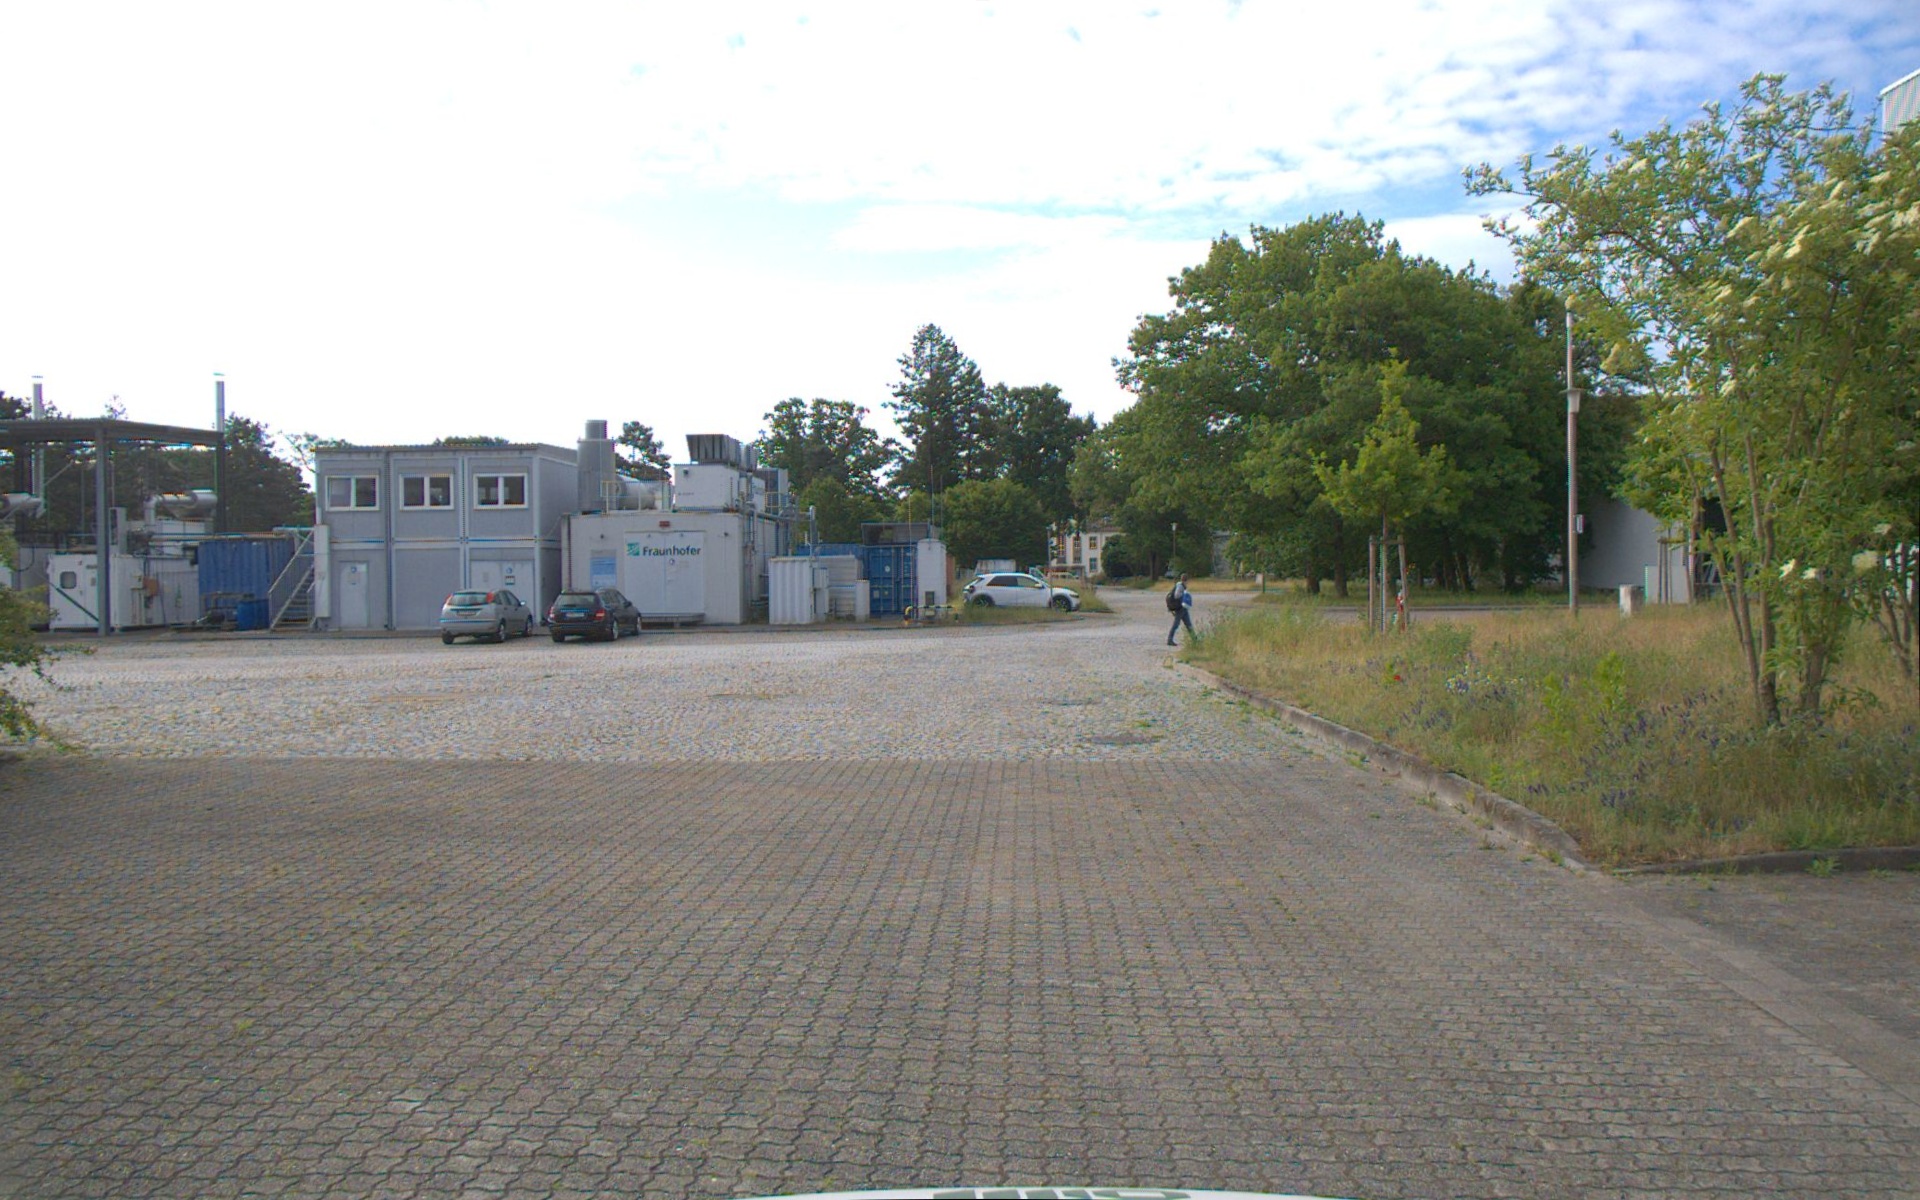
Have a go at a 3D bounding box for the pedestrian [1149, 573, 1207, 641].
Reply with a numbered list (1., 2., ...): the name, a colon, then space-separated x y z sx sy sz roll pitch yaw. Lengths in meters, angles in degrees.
1. pedestrian: 5.194 0.150 39.349 1.054 1.583 1.074 -1 1 26

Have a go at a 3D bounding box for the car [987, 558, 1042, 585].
1. car: 5.140 -2.664 155.702 5.063 2.378 2.001 -1 1 2

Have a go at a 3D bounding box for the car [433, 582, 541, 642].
1. car: -13.504 0.302 47.431 1.867 1.501 4.048 -1 2 0

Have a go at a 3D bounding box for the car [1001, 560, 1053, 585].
1. car: 6.692 -2.753 165.213 5.063 2.378 2.001 -1 1 2

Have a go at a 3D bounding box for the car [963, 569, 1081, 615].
1. car: 2.418 -0.317 63.690 4.438 1.627 2.001 -1 1 5

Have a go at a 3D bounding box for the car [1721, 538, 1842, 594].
1. car: 32.336 -1.324 65.294 2.195 2.049 5.338 -1 1 1

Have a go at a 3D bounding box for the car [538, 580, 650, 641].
1. car: -10.305 0.250 46.915 1.994 1.478 4.532 -1 2 2
